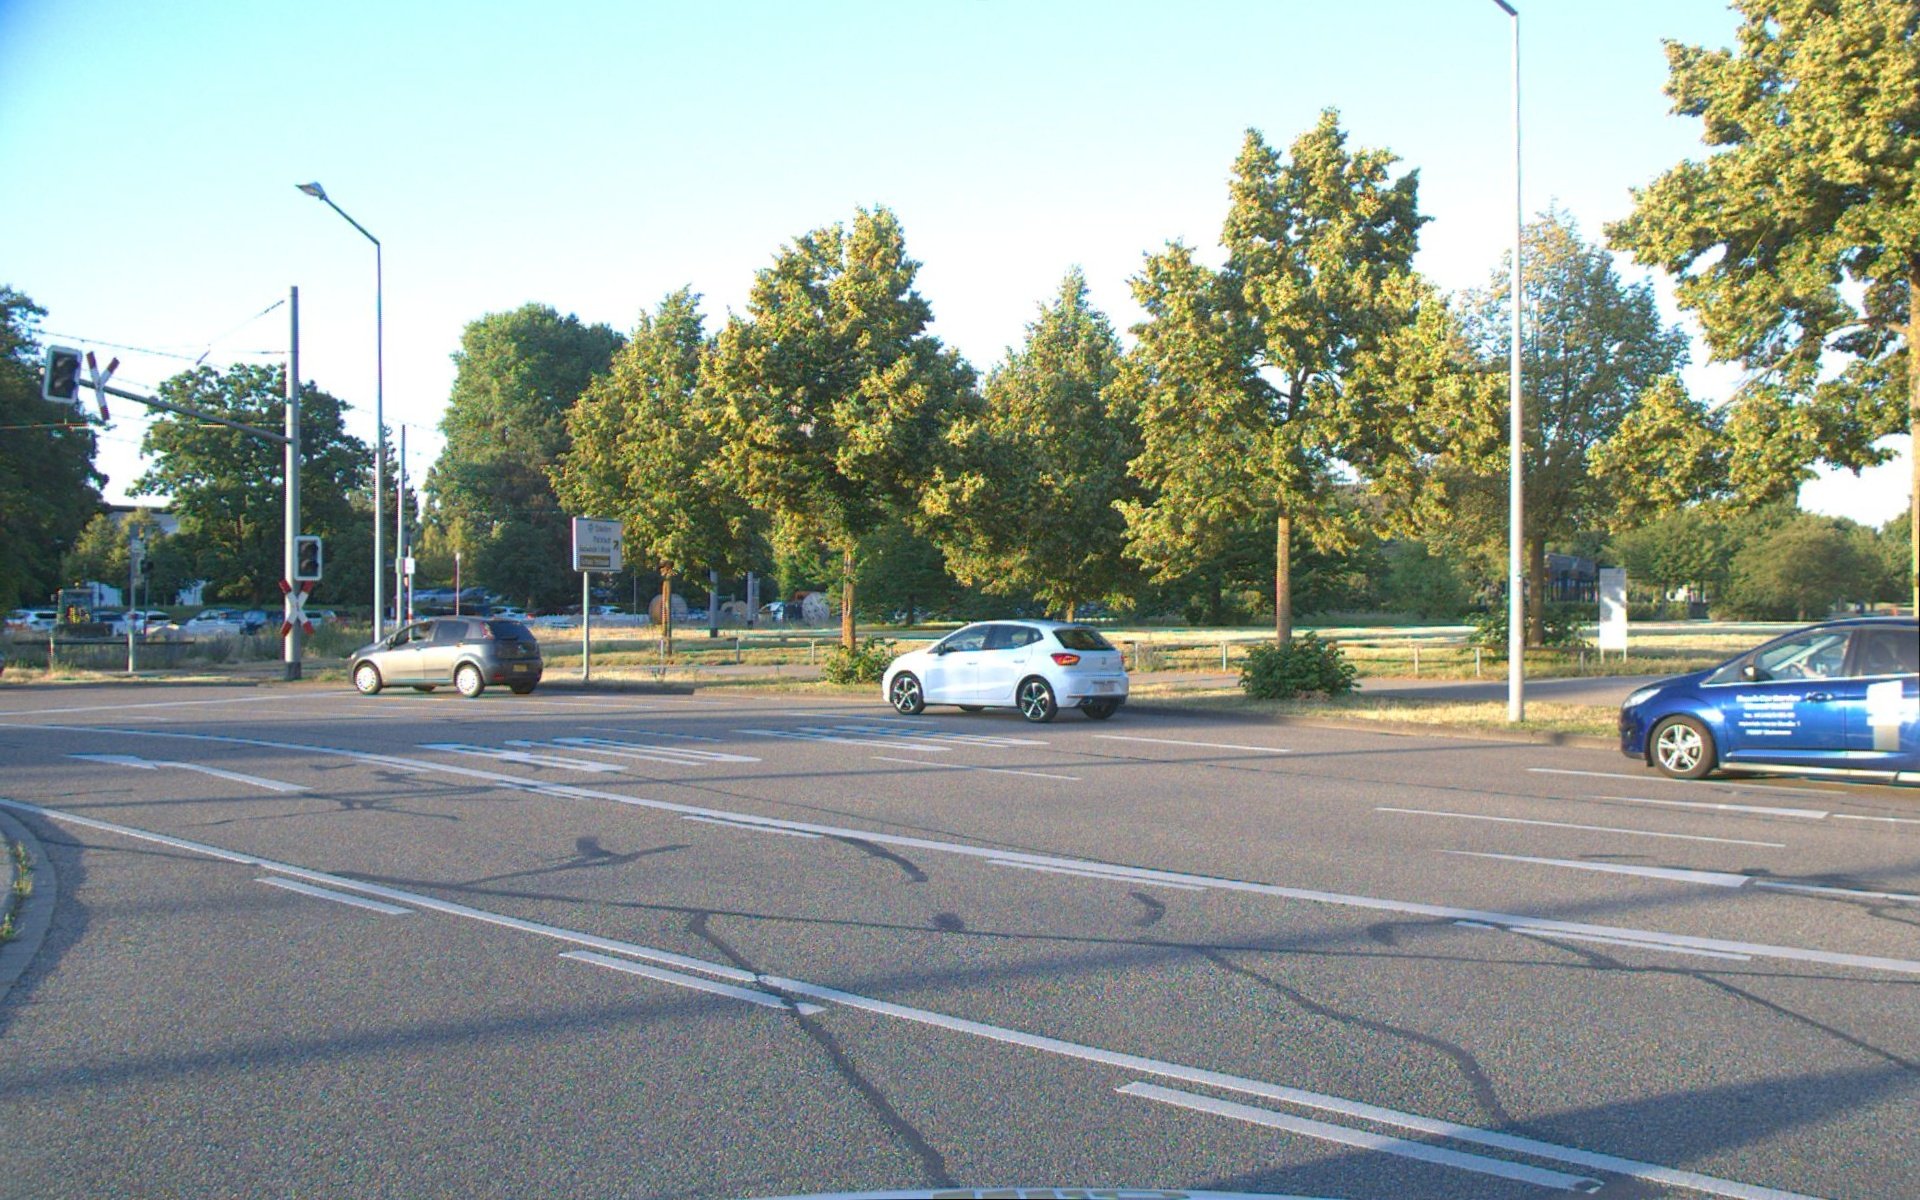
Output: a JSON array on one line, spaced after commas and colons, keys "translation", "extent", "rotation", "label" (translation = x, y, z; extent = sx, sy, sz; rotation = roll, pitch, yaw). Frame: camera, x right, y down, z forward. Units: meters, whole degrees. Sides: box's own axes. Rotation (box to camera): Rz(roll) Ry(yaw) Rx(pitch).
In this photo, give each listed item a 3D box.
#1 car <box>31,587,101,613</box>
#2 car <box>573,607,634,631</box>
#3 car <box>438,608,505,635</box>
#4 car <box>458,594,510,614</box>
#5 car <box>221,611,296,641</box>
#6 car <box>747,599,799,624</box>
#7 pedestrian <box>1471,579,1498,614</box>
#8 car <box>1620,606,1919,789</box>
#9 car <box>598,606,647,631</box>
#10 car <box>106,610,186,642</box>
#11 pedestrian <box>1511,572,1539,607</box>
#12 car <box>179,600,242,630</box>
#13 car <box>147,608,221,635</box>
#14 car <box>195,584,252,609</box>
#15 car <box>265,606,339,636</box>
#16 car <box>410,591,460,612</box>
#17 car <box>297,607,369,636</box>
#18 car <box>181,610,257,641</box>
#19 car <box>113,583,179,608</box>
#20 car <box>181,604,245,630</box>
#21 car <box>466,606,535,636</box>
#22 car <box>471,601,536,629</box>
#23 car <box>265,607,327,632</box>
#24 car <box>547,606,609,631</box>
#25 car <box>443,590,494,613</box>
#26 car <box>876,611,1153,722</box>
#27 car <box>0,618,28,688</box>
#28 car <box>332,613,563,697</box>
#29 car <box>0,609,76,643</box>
[{"translation": [-70.504, 0.002, 130.472], "extent": [1.956, 2.049, 4.590], "rotation": [0, 0, 29], "label": "car"}, {"translation": [-24.873, 1.345, 115.426], "extent": [3.915, 1.632, 1.995], "rotation": [0, 0, 32], "label": "car"}, {"translation": [-30.949, 1.344, 104.688], "extent": [3.915, 1.632, 1.995], "rotation": [0, 0, 32], "label": "car"}, {"translation": [-41.658, 0.325, 144.728], "extent": [3.902, 1.736, 2.001], "rotation": [0, 0, 6], "label": "car"}, {"translation": [-39.063, 1.414, 92.048], "extent": [3.915, 1.632, 1.995], "rotation": [0, 0, 32], "label": "car"}, {"translation": [-12.975, 0.783, 114.673], "extent": [1.724, 1.646, 3.940], "rotation": [0, 0, -41], "label": "car"}, {"translation": [25.196, -0.173, 79.442], "extent": [1.047, 1.646, 0.911], "rotation": [0, 0, 2], "label": "pedestrian"}, {"translation": [8.708, 0.874, 15.769], "extent": [1.900, 1.611, 4.115], "rotation": [1, -1, -43], "label": "car"}, {"translation": [-26.316, 1.418, 128.857], "extent": [1.979, 1.782, 4.538], "rotation": [0, 1, -37], "label": "car"}, {"translation": [-42.231, 1.333, 85.791], "extent": [3.915, 1.632, 1.995], "rotation": [0, 0, 32], "label": "car"}, {"translation": [27.103, -0.492, 79.331], "extent": [1.047, 1.646, 0.911], "rotation": [0, 0, 2], "label": "pedestrian"}, {"translation": [-52.760, 1.057, 116.424], "extent": [3.939, 2.049, 1.983], "rotation": [0, 0, -27], "label": "car"}, {"translation": [-50.203, 1.392, 107.089], "extent": [1.863, 1.691, 3.987], "rotation": [0, 0, 34], "label": "car"}, {"translation": [-63.344, -0.297, 142.367], "extent": [1.958, 2.049, 4.105], "rotation": [0, 0, 33], "label": "car"}, {"translation": [-37.363, 1.186, 93.874], "extent": [3.915, 1.632, 1.995], "rotation": [0, 0, 32], "label": "car"}, {"translation": [-47.919, 0.144, 151.068], "extent": [1.959, 1.847, 3.987], "rotation": [0, 0, 34], "label": "car"}, {"translation": [-36.418, 1.212, 96.092], "extent": [3.915, 1.632, 1.995], "rotation": [0, 0, 32], "label": "car"}, {"translation": [-40.506, 1.382, 90.380], "extent": [3.915, 1.632, 1.995], "rotation": [0, 0, 32], "label": "car"}, {"translation": [-67.087, -0.386, 136.346], "extent": [1.958, 2.049, 4.585], "rotation": [0, 0, 33], "label": "car"}, {"translation": [-50.533, 1.132, 111.876], "extent": [3.939, 1.691, 1.983], "rotation": [0, 0, -27], "label": "car"}, {"translation": [-32.496, 1.464, 117.158], "extent": [4.499, 2.049, 1.996], "rotation": [0, 0, -9], "label": "car"}, {"translation": [-34.564, 1.109, 125.266], "extent": [4.499, 2.049, 1.996], "rotation": [0, 0, -9], "label": "car"}, {"translation": [-45.789, 1.343, 114.116], "extent": [3.933, 1.691, 1.889], "rotation": [0, 0, -23], "label": "car"}, {"translation": [-26.242, 1.259, 113.677], "extent": [3.915, 1.632, 1.995], "rotation": [0, 0, 32], "label": "car"}, {"translation": [-44.058, 0.139, 148.241], "extent": [1.963, 2.049, 3.979], "rotation": [0, 0, 40], "label": "car"}, {"translation": [0.772, 0.931, 24.889], "extent": [3.900, 1.479, 1.857], "rotation": [0, 1, 42], "label": "car"}, {"translation": [-21.742, 1.098, 34.064], "extent": [4.062, 1.414, 1.868], "rotation": [0, 0, 3], "label": "car"}, {"translation": [-9.761, 1.002, 31.497], "extent": [4.068, 1.479, 1.866], "rotation": [0, 0, 27], "label": "car"}, {"translation": [-45.601, 1.256, 81.439], "extent": [3.915, 1.632, 1.995], "rotation": [0, 0, 32], "label": "car"}]
